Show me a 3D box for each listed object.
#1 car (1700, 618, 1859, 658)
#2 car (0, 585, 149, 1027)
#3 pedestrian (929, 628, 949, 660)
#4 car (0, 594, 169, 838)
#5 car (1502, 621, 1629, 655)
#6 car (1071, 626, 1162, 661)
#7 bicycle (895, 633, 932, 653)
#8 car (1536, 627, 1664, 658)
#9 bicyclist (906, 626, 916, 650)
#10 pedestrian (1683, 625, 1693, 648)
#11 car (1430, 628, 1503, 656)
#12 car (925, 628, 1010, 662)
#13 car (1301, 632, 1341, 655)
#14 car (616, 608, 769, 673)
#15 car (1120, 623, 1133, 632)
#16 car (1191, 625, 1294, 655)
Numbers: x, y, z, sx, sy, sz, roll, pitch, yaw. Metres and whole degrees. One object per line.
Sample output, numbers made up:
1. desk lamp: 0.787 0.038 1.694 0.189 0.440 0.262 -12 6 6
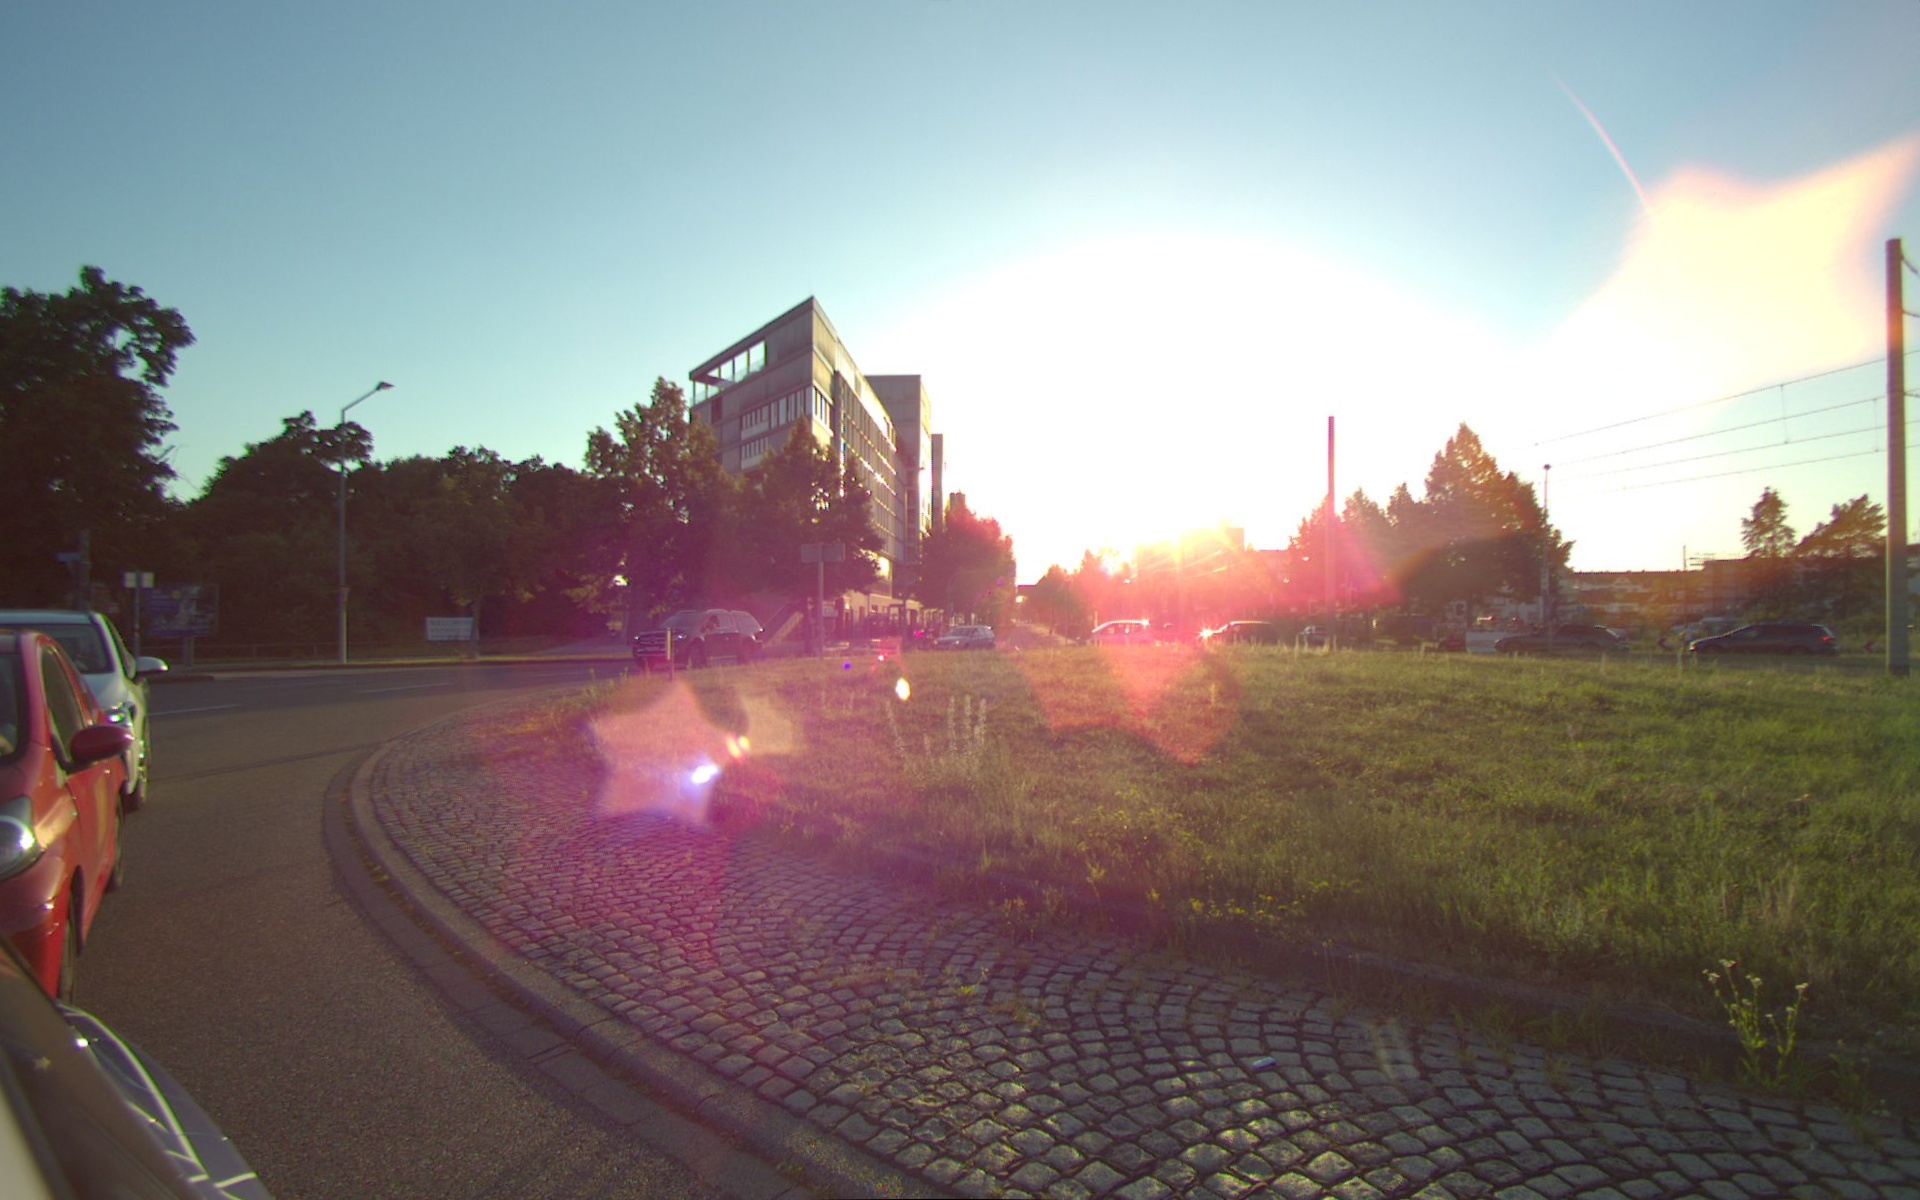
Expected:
1. car: 30.630 1.388 37.916 1.969 1.386 4.389 1 -2 -42
2. car: -4.804 0.703 4.520 1.662 1.431 4.009 1 -2 -36
3. pedestrian: -1.352 2.790 64.467 0.995 2.029 0.768 -1 0 29
4. car: -7.787 0.812 8.330 1.968 1.618 4.207 1 -2 -38
5. car: 25.728 1.598 43.102 4.351 1.386 1.972 -1 -2 42
6. car: 7.341 2.042 47.712 3.831 1.592 1.958 0 -1 -7
7. bicycle: -2.890 2.677 62.966 2.315 1.254 0.742 0 -1 0
8. car: 30.063 1.977 47.674 1.969 1.382 4.741 1 -2 -41
9. bicyclist: -3.071 2.353 62.988 0.602 1.451 0.692 0 -1 -2
10. pedestrian: 41.363 2.059 57.499 0.397 1.318 0.423 -1 -2 41
11. car: 29.248 2.395 58.515 1.614 1.511 3.502 0 -1 -27
12. car: 0.432 2.171 49.583 1.830 1.571 4.510 -1 -2 37
13. car: 29.011 3.455 81.421 1.976 1.719 4.707 0 -1 6
14. car: -8.168 1.248 31.532 1.985 1.827 5.270 -2 -3 20
15. car: 34.799 5.683 211.680 1.972 1.737 4.000 -1 0 0
16. car: 13.369 1.891 48.046 4.324 1.386 1.999 0 -1 2
